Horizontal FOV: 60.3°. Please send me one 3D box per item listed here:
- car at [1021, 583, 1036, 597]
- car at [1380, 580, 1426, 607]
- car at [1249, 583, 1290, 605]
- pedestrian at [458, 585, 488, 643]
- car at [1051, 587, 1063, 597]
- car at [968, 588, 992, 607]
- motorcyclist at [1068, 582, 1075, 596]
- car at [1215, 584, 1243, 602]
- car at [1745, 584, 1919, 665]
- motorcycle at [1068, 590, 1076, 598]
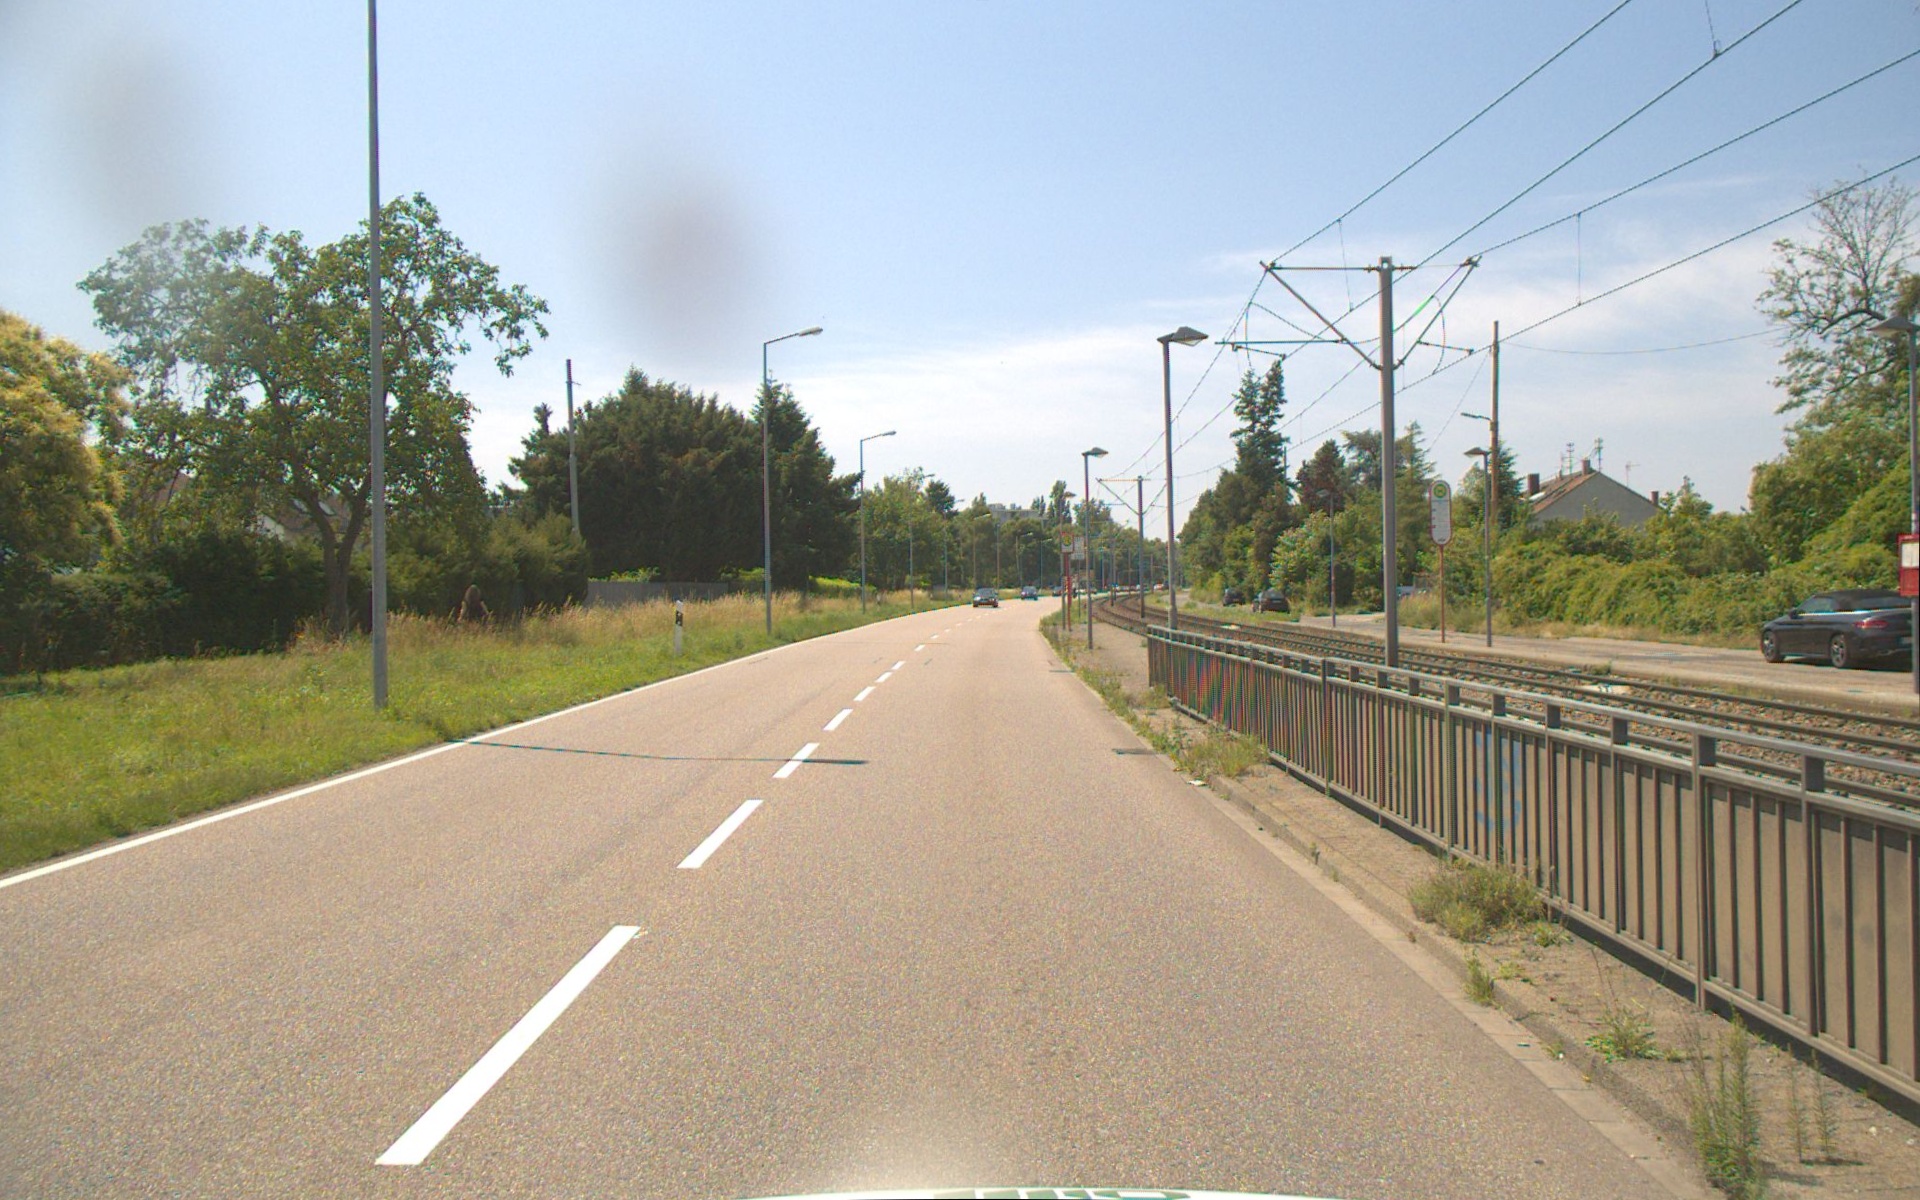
[{"bbox_3d":[8.202,-1.197,198.808,1.710,1.660,4.031,0,0,3],"label":"car"},{"bbox_3d":[24.777,-0.356,92.640,1.684,1.444,3.740,0,0,2],"label":"car"},{"bbox_3d":[19.060,-0.368,102.045,1.822,1.353,4.516,0,0,2],"label":"car"},{"bbox_3d":[-12.794,0.361,43.470,0.596,1.503,0.633,0,0,2],"label":"pedestrian"},{"bbox_3d":[14.738,-1.267,250.938,1.664,1.517,4.442,0,0,4],"label":"car"},{"bbox_3d":[1.600,-0.197,130.263,1.671,1.429,4.709,0,0,3],"label":"car"},{"bbox_3d":[15.246,-1.474,225.342,0.872,1.938,1.016,0,0,8],"label":"motorcyclist"},{"bbox_3d":[21.948,-0.582,135.062,1.874,1.496,4.002,0,0,4],"label":"car"},{"bbox_3d":[17.218,0.437,32.234,1.586,1.447,4.873,0,0,1],"label":"car"},{"bbox_3d":[15.307,-0.781,225.613,0.949,1.137,2.735,0,0,9],"label":"motorcycle"}]
